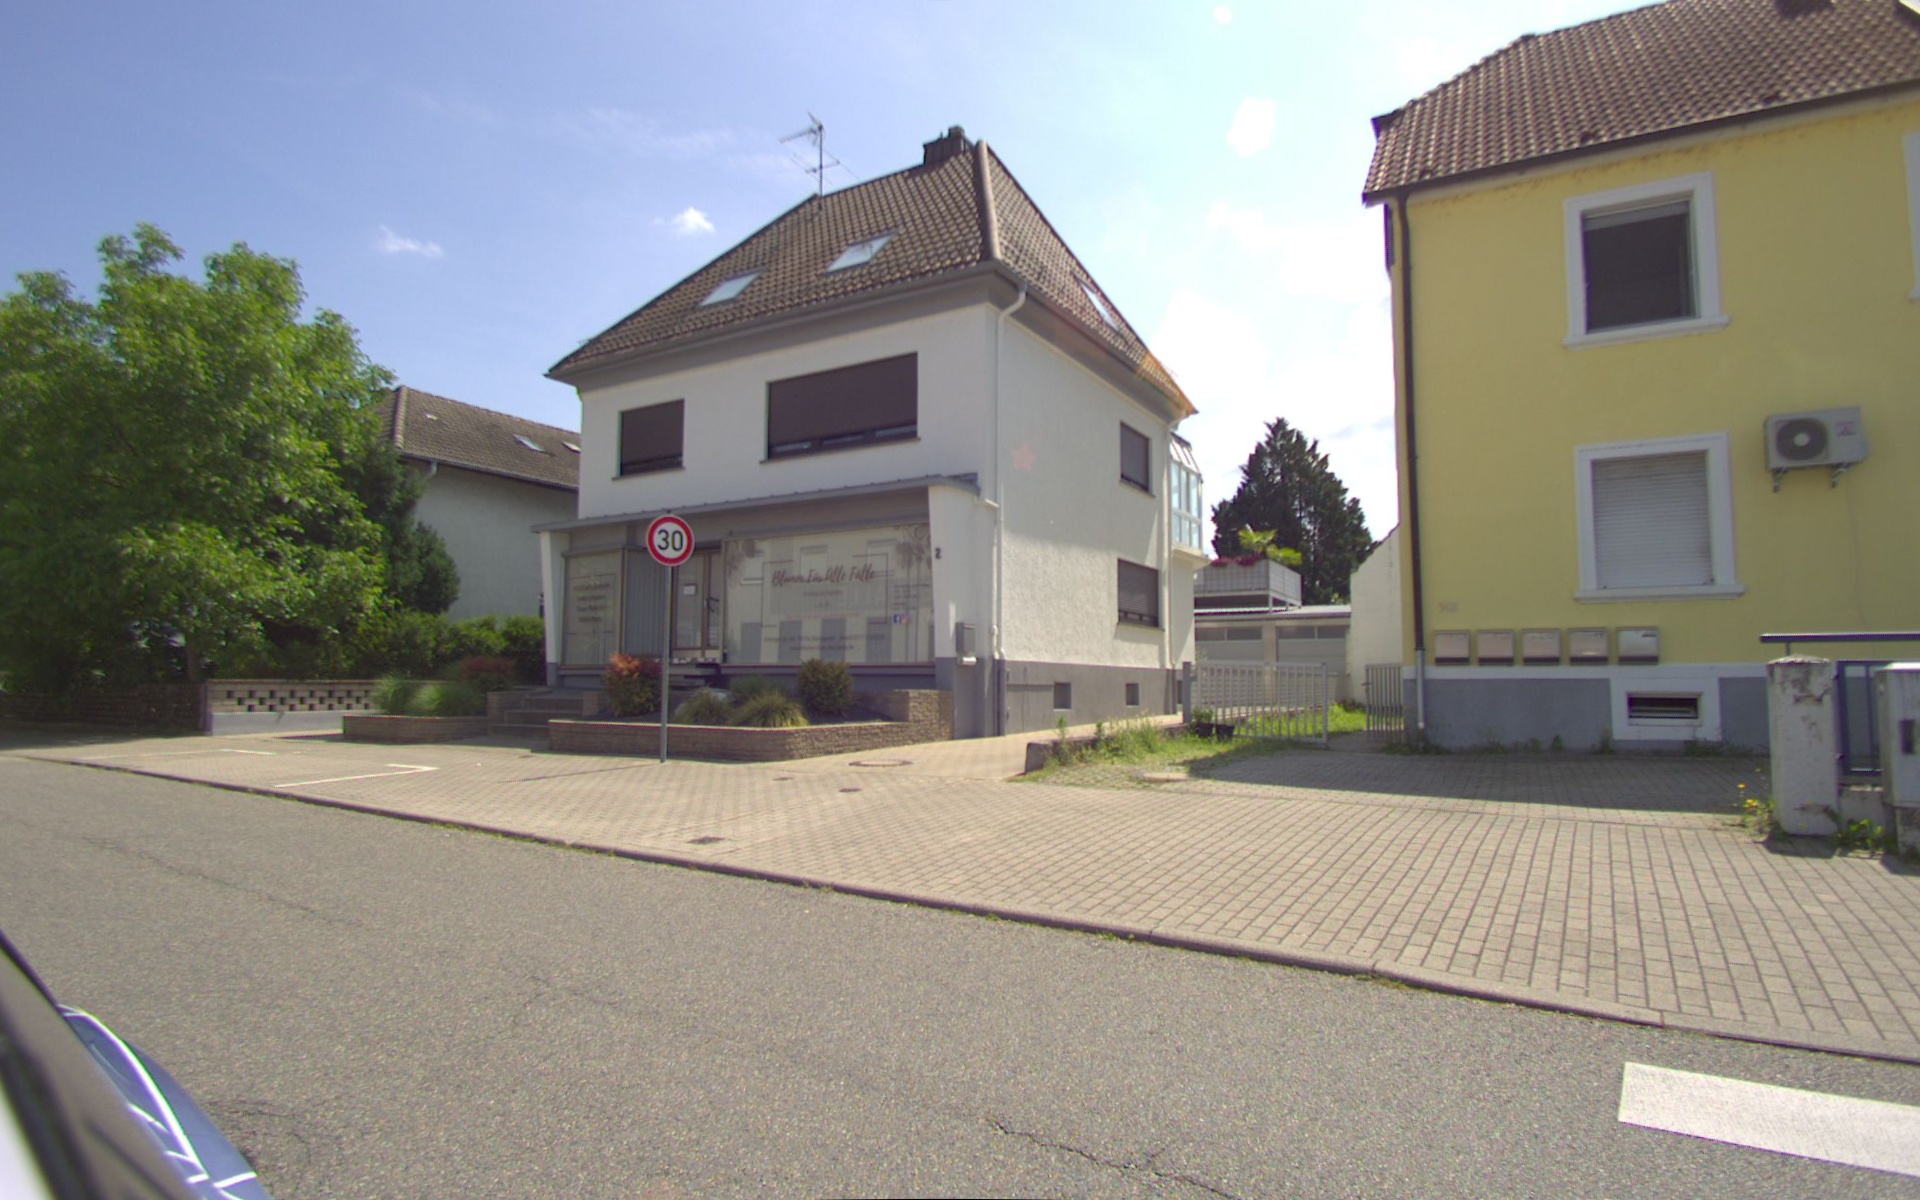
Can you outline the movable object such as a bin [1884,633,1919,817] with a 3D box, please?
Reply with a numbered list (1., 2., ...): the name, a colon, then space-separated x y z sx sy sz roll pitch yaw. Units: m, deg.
1. movable object such as a bin: 6.959 0.840 6.808 0.899 1.235 0.878 -3 -5 33
